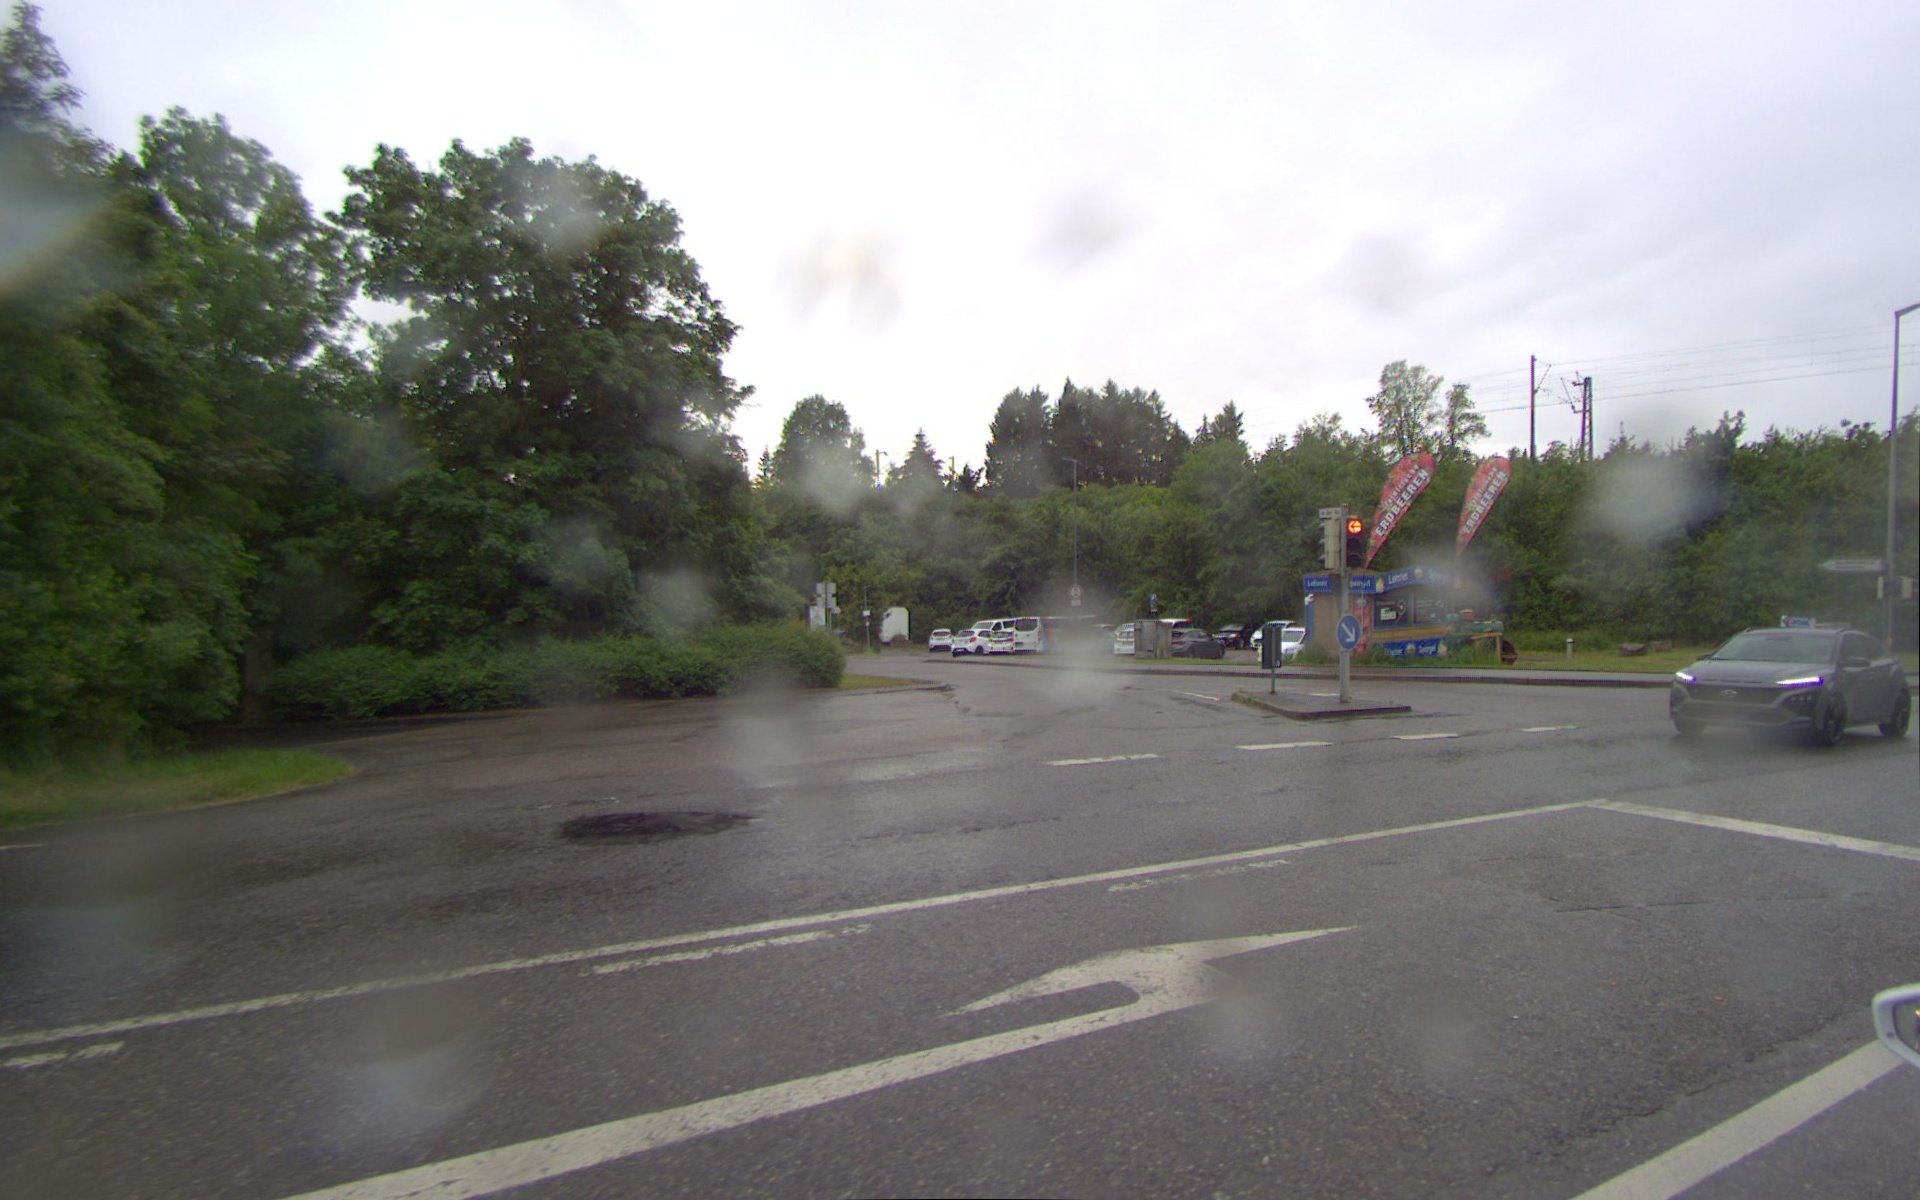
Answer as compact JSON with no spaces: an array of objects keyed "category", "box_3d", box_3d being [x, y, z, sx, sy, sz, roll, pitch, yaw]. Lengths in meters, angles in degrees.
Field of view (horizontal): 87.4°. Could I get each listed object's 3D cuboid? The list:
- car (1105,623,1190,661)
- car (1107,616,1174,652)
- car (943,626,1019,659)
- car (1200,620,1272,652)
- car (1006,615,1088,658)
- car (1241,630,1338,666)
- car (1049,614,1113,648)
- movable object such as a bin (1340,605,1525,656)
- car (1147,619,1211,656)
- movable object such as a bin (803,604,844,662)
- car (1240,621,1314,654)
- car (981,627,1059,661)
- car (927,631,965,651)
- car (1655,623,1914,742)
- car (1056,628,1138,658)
[{"category":"car","box_3d":[8.648,1.953,46.208,3.880,1.606,1.918,3,-2,-43]},{"category":"car","box_3d":[10.722,2.032,59.520,3.974,2.040,1.974,2,-2,-44]},{"category":"car","box_3d":[1.158,2.264,52.945,1.813,1.606,3.979,1,-2,42]},{"category":"car","box_3d":[14.876,1.947,54.098,3.972,1.606,1.975,3,-2,-43]},{"category":"car","box_3d":[4.300,1.803,49.119,1.971,1.974,3.979,1,-2,42]},{"category":"car","box_3d":[13.575,1.991,41.250,4.869,1.358,1.636,3,-2,-43]},{"category":"car","box_3d":[7.610,1.949,62.929,1.972,2.040,3.976,0,-1,44]},{"category":"movable object such as a bin","box_3d":[17.432,1.126,37.422,5.663,1.649,2.753,1,-1,10]},{"category":"car","box_3d":[12.595,2.139,57.639,1.916,2.040,3.846,1,-1,43]},{"category":"movable object such as a bin","box_3d":[-7.702,1.837,56.838,1.765,3.192,1.304,1,-1,28]},{"category":"car","box_3d":[16.421,1.948,52.002,3.972,1.606,1.975,3,-2,-43]},{"category":"car","box_3d":[3.075,2.264,51.051,1.834,1.606,3.979,1,-2,42]},{"category":"car","box_3d":[-0.896,2.748,67.903,1.609,1.248,4.003,1,-2,14]},{"category":"car","box_3d":[11.810,1.092,14.342,3.954,1.489,1.631,1,-1,-31]},{"category":"car","box_3d":[6.562,2.061,47.870,3.972,1.327,1.734,3,-2,-43]}]
